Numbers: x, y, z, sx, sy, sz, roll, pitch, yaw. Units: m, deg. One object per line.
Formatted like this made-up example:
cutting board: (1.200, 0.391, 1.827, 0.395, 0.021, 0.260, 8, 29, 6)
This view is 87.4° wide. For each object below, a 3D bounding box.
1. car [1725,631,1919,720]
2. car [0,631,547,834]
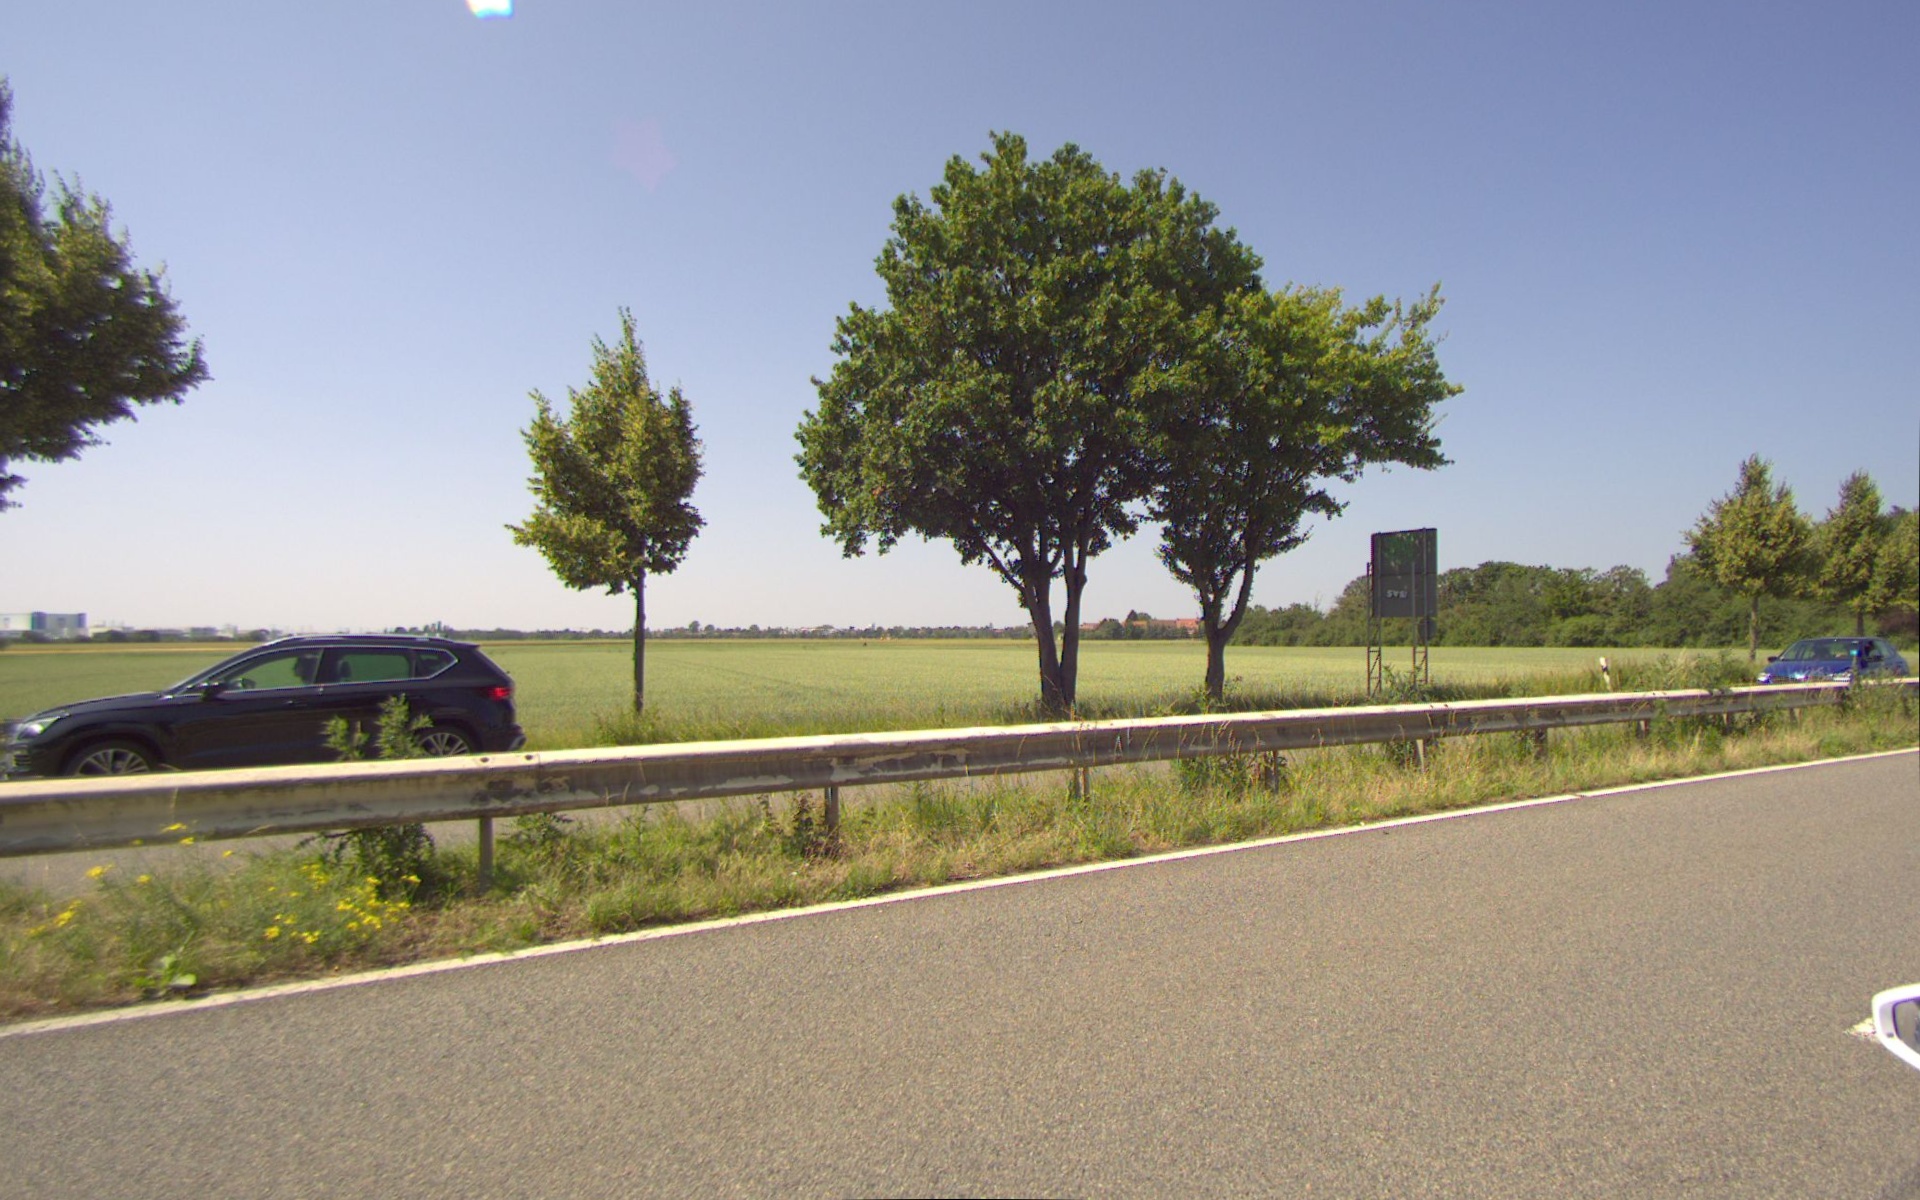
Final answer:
car: (18.242, 1.500, 21.079, 4.429, 1.684, 1.984, 1, -2, -31)
car: (-6.774, 1.173, 10.346, 4.429, 1.684, 1.984, 1, -2, -31)
